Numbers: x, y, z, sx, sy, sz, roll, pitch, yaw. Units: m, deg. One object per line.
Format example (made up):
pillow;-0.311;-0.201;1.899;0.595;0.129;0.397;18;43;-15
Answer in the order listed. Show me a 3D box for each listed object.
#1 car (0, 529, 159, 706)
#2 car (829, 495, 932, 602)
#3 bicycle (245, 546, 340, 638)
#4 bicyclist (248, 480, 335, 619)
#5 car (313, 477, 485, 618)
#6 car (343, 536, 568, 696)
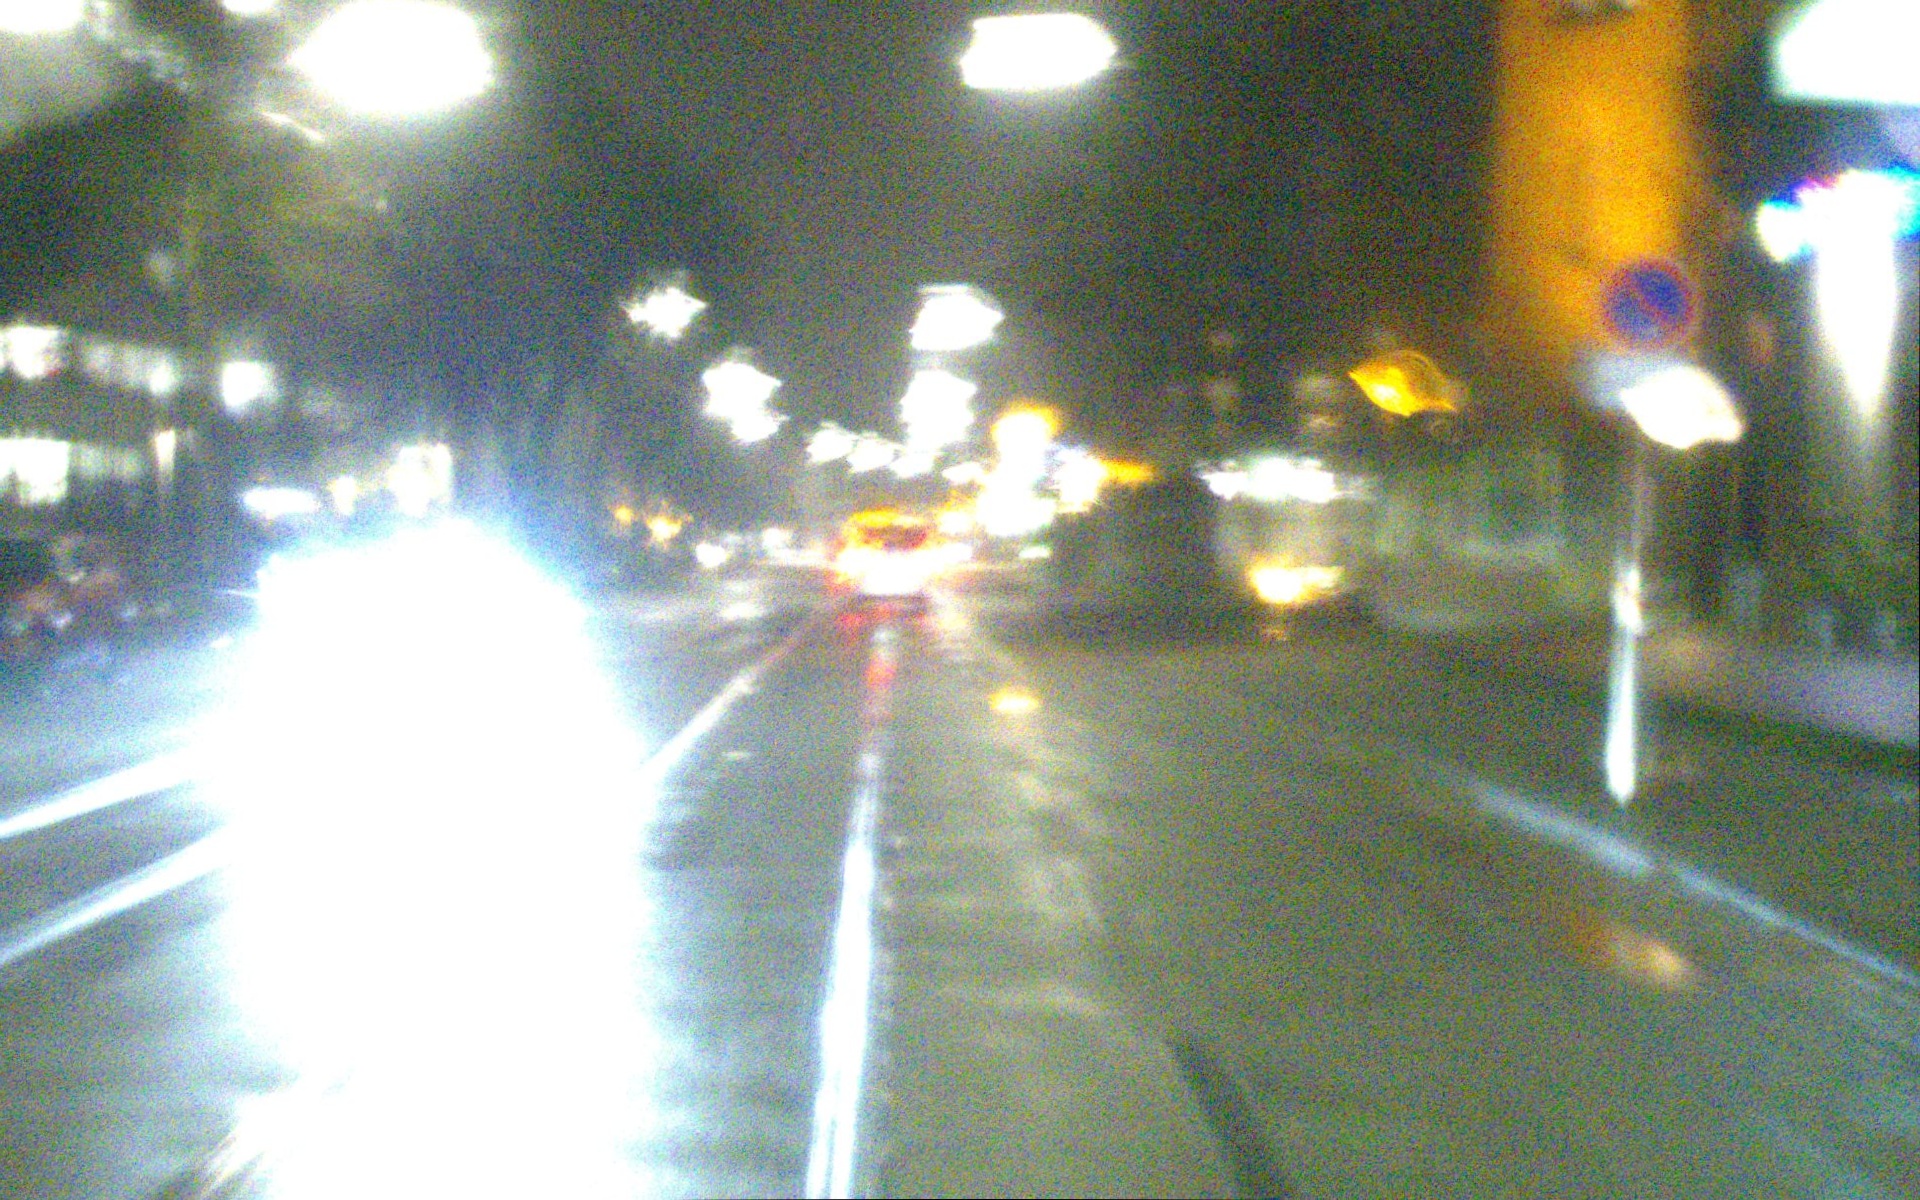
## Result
car;-9.754;0.115;35.192;1.969;1.650;4.601;2;1;0
car;-1.837;-1.171;78.185;2.244;2.353;4.394;0;1;-2
bicycle;-8.165;-0.111;42.120;0.782;1.078;1.918;-2;1;-1
bicyclist;-8.183;-0.620;42.116;0.782;1.650;1.206;-2;1;-1
car;-10.800;-1.064;66.667;2.185;2.582;6.392;0;2;1
car;-5.143;0.119;35.473;1.776;1.512;4.051;0;2;-1
